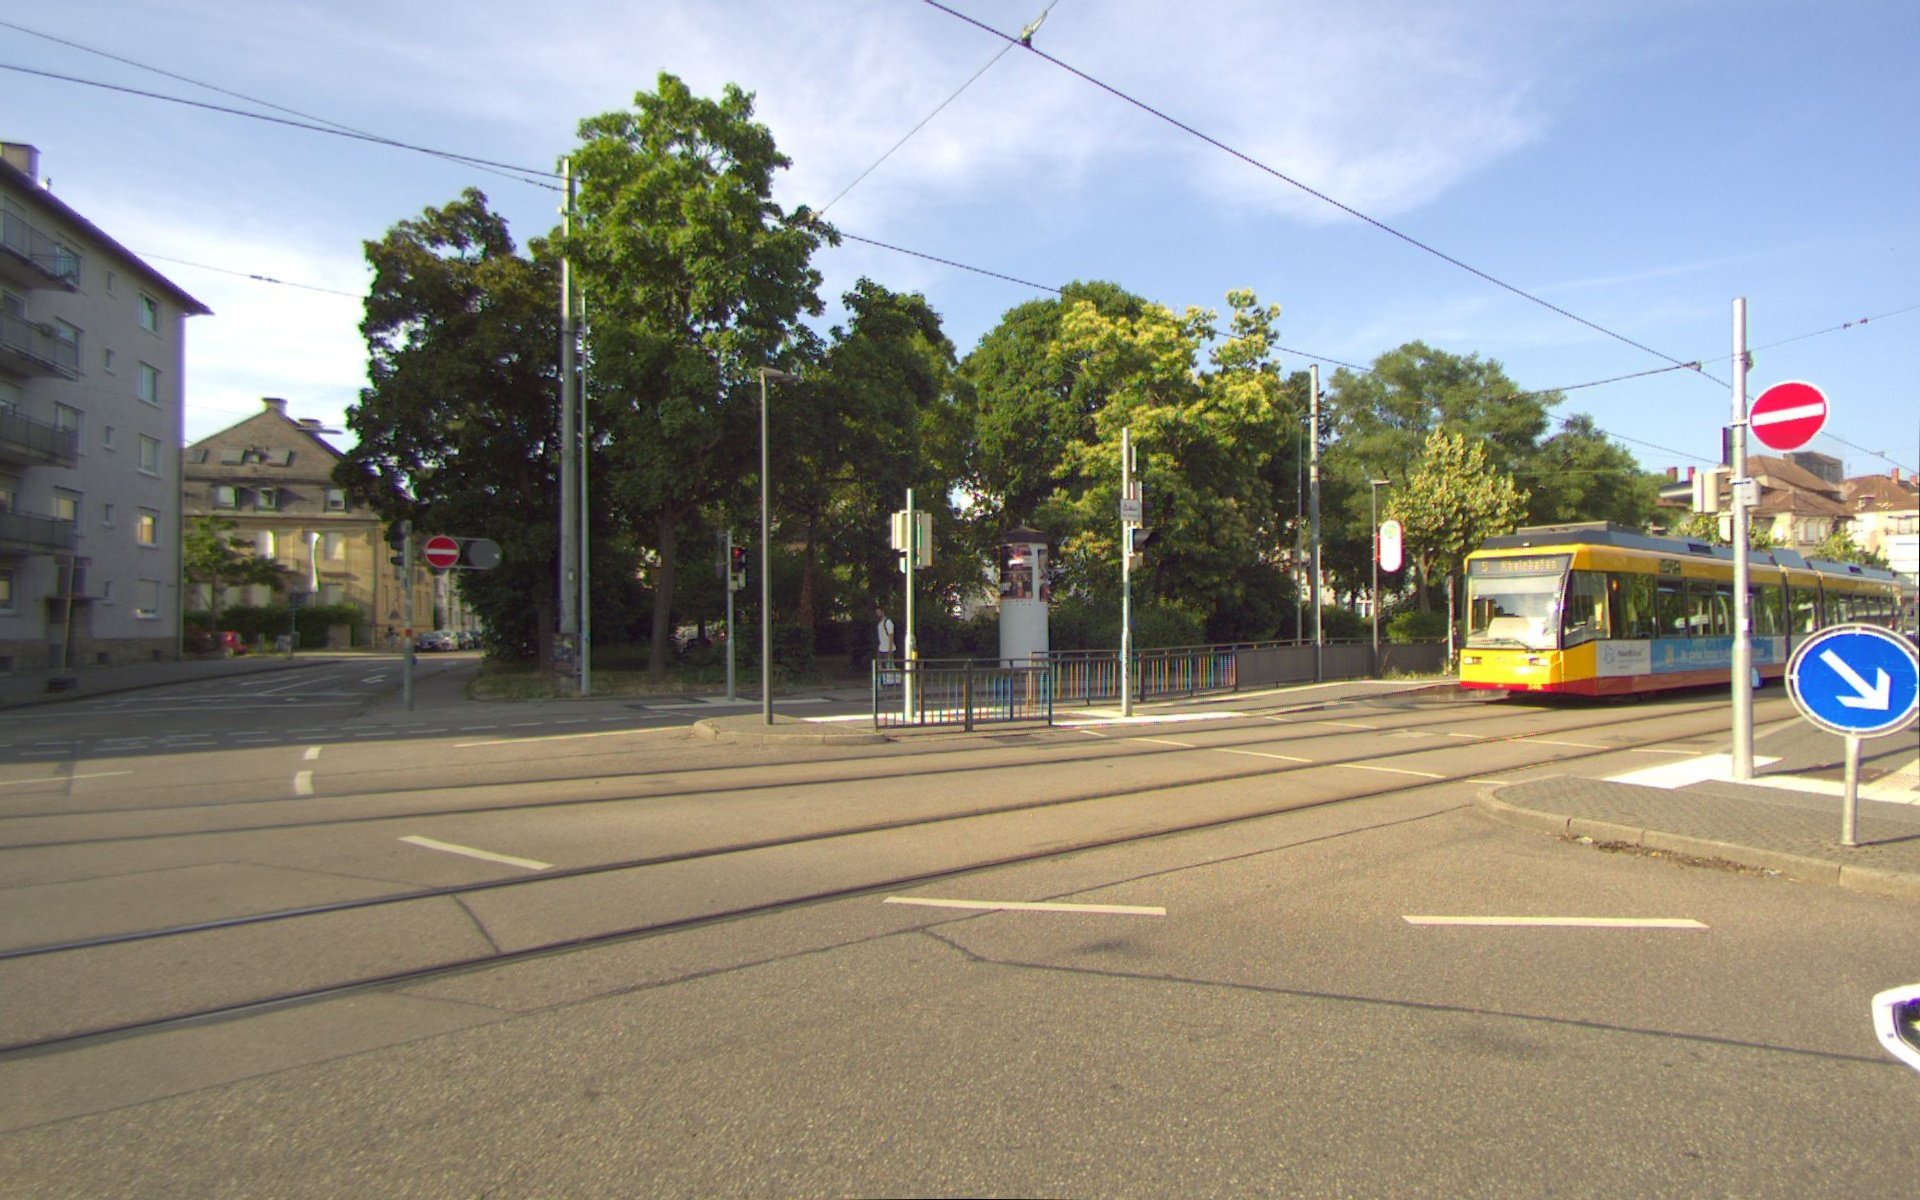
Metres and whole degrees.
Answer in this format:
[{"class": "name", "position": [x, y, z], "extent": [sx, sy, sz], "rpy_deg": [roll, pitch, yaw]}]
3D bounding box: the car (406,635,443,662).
[{"class": "car", "position": [-37.709, 3.395, 70.764], "extent": [1.972, 1.748, 3.977], "rpy_deg": [0, 0, -24]}]

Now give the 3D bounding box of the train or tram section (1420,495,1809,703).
[{"class": "train or tram section", "position": [15.480, 0.054, 22.780], "extent": [14.406, 3.526, 3.137], "rpy_deg": [1, 0, -39]}]

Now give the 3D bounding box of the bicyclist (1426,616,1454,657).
[{"class": "bicyclist", "position": [17.065, 1.275, 35.728], "extent": [0.710, 1.432, 0.646], "rpy_deg": [0, 0, -35]}]

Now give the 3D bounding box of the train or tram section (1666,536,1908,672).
[{"class": "train or tram section", "position": [26.560, 0.174, 31.792], "extent": [14.346, 3.526, 3.137], "rpy_deg": [1, 0, -39]}]

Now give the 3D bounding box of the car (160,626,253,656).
[{"class": "car", "position": [-44.998, 2.423, 60.082], "extent": [3.936, 1.666, 1.992], "rpy_deg": [0, 0, -18]}]

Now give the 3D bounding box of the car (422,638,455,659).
[{"class": "car", "position": [-39.308, 3.630, 75.811], "extent": [1.972, 1.439, 3.977], "rpy_deg": [0, 0, -24]}]

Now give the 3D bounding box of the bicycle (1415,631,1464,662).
[{"class": "bicycle", "position": [17.131, 1.646, 35.835], "extent": [2.227, 1.032, 0.538], "rpy_deg": [1, 0, -35]}]

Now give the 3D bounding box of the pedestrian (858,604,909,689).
[{"class": "pedestrian", "position": [-1.780, 1.058, 23.442], "extent": [0.990, 1.935, 0.705], "rpy_deg": [0, 0, 40]}]
